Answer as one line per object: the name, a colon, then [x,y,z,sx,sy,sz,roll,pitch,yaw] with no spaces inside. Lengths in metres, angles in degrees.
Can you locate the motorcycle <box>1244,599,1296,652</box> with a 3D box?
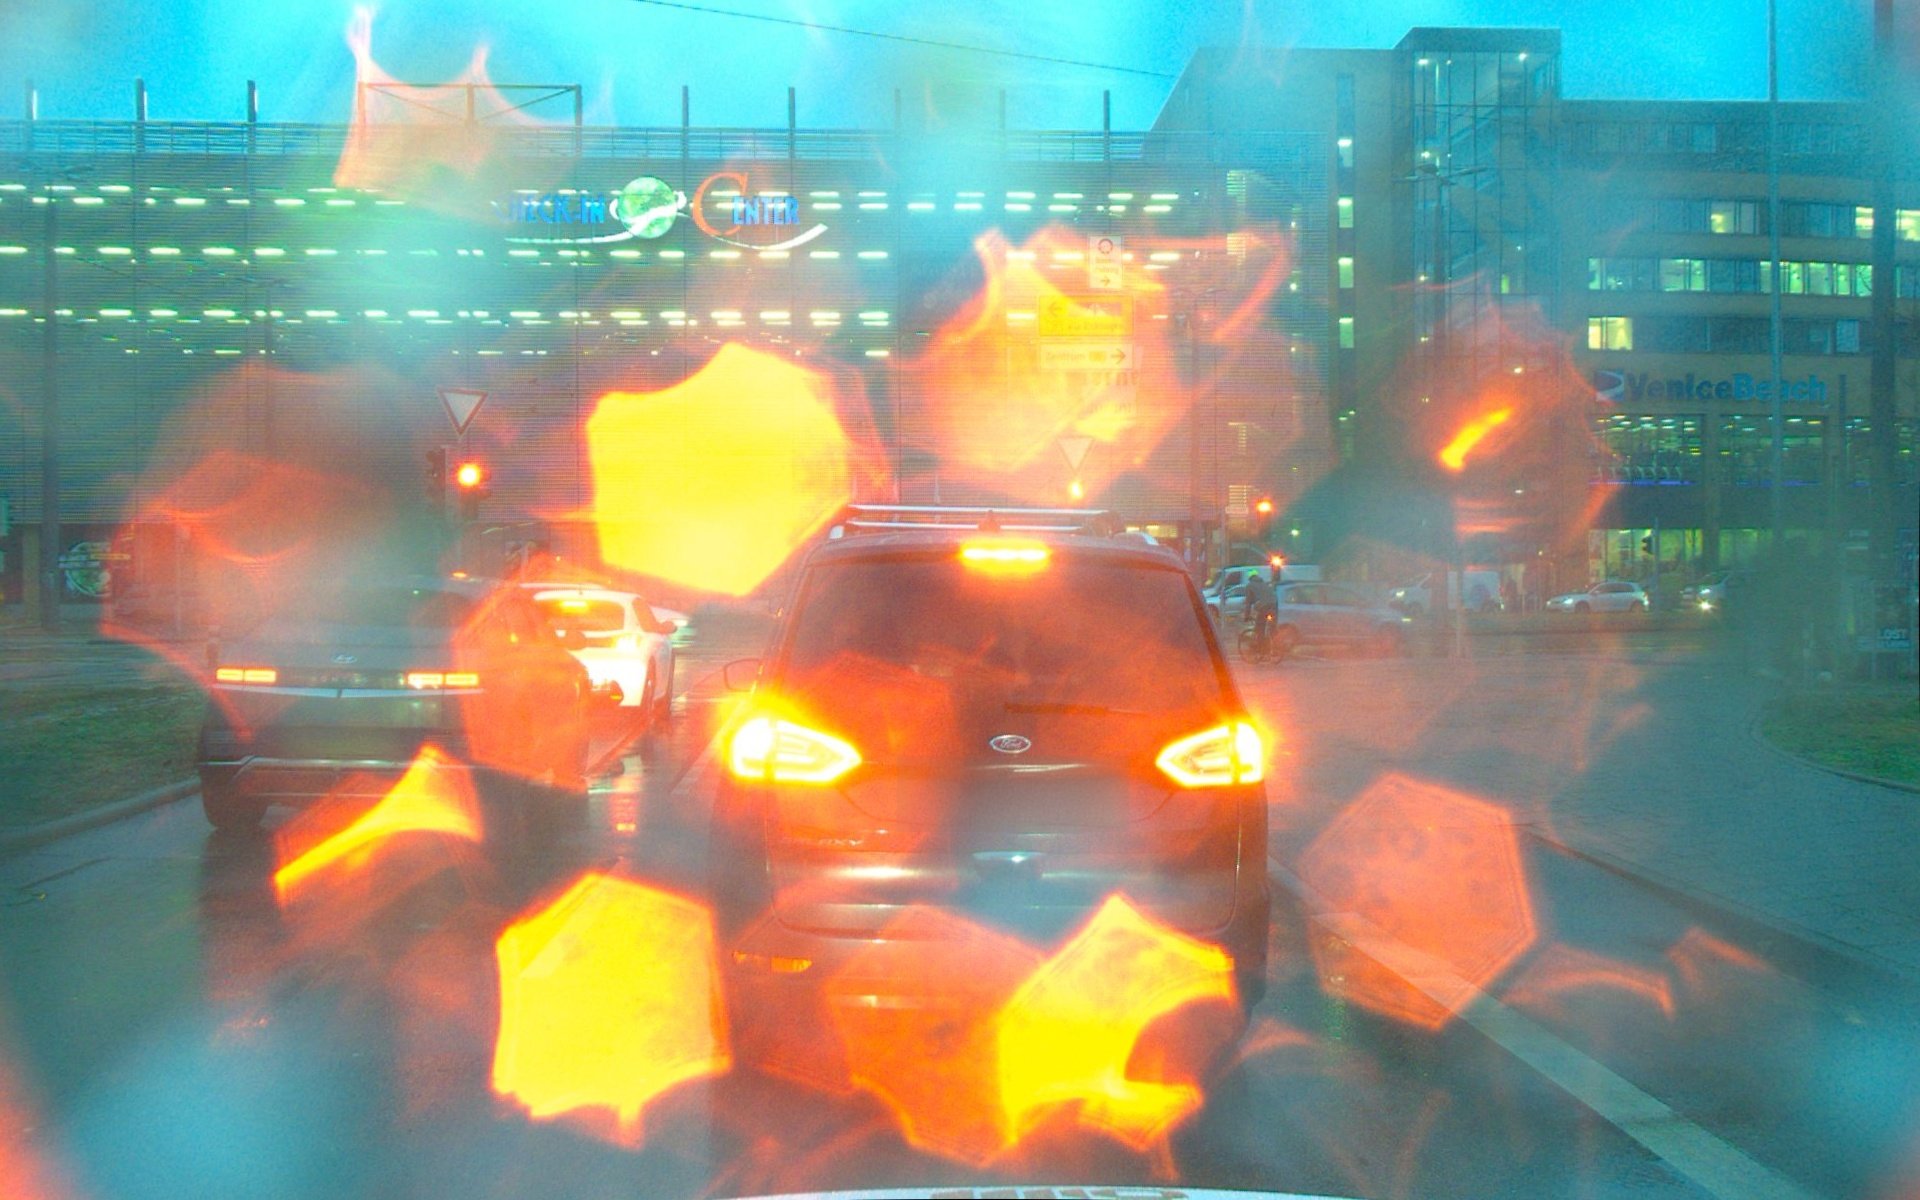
motorcycle: [5.937,0.481,31.732,0.835,0.989,1.582,0,0,5]

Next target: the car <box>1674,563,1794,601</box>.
car: [32.704,-0.755,69.947,4.348,1.561,1.797,-1,0,-8]

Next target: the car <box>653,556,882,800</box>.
car: [-1.531,0.561,13.634,1.604,1.726,3.667,1,0,-5]

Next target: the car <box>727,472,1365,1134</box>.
car: [0.136,0.547,6.649,1.700,1.768,4.244,2,0,-3]

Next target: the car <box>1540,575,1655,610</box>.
car: [26.436,-0.306,68.652,4.136,1.414,1.797,-1,0,-8]

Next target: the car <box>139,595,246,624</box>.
car: [-31.849,0.385,68.704,3.686,1.186,1.678,-1,0,-6]

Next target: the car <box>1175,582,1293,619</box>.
car: [10.983,0.015,66.370,4.336,1.414,1.797,-1,0,-8]

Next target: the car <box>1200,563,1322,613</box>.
car: [12.689,-0.513,69.809,4.747,2.035,1.797,-1,0,-8]

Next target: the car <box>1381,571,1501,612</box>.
car: [19.536,-0.361,67.236,4.336,1.623,1.797,-1,0,-8]

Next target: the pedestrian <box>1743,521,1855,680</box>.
pedestrian: [10.738,-0.006,21.203,1.146,1.957,0.898,2,0,22]

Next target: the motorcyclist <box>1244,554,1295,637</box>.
motorcyclist: [5.938,-0.086,31.747,0.850,1.561,1.109,0,0,5]

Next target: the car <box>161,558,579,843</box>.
car: [-3.807,0.557,11.399,1.718,1.601,3.996,0,0,-5]

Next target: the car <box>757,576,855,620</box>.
car: [-6.301,-0.086,67.696,3.910,1.646,1.736,2,1,-6]

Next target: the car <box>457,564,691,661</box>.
car: [-7.893,0.246,34.205,4.584,1.883,1.827,-1,0,-10]

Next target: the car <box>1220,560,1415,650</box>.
car: [8.190,0.078,38.008,3.917,1.907,1.994,-2,1,-12]

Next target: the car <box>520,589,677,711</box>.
car: [-4.158,0.516,19.475,1.512,1.273,4.060,0,0,-8]
